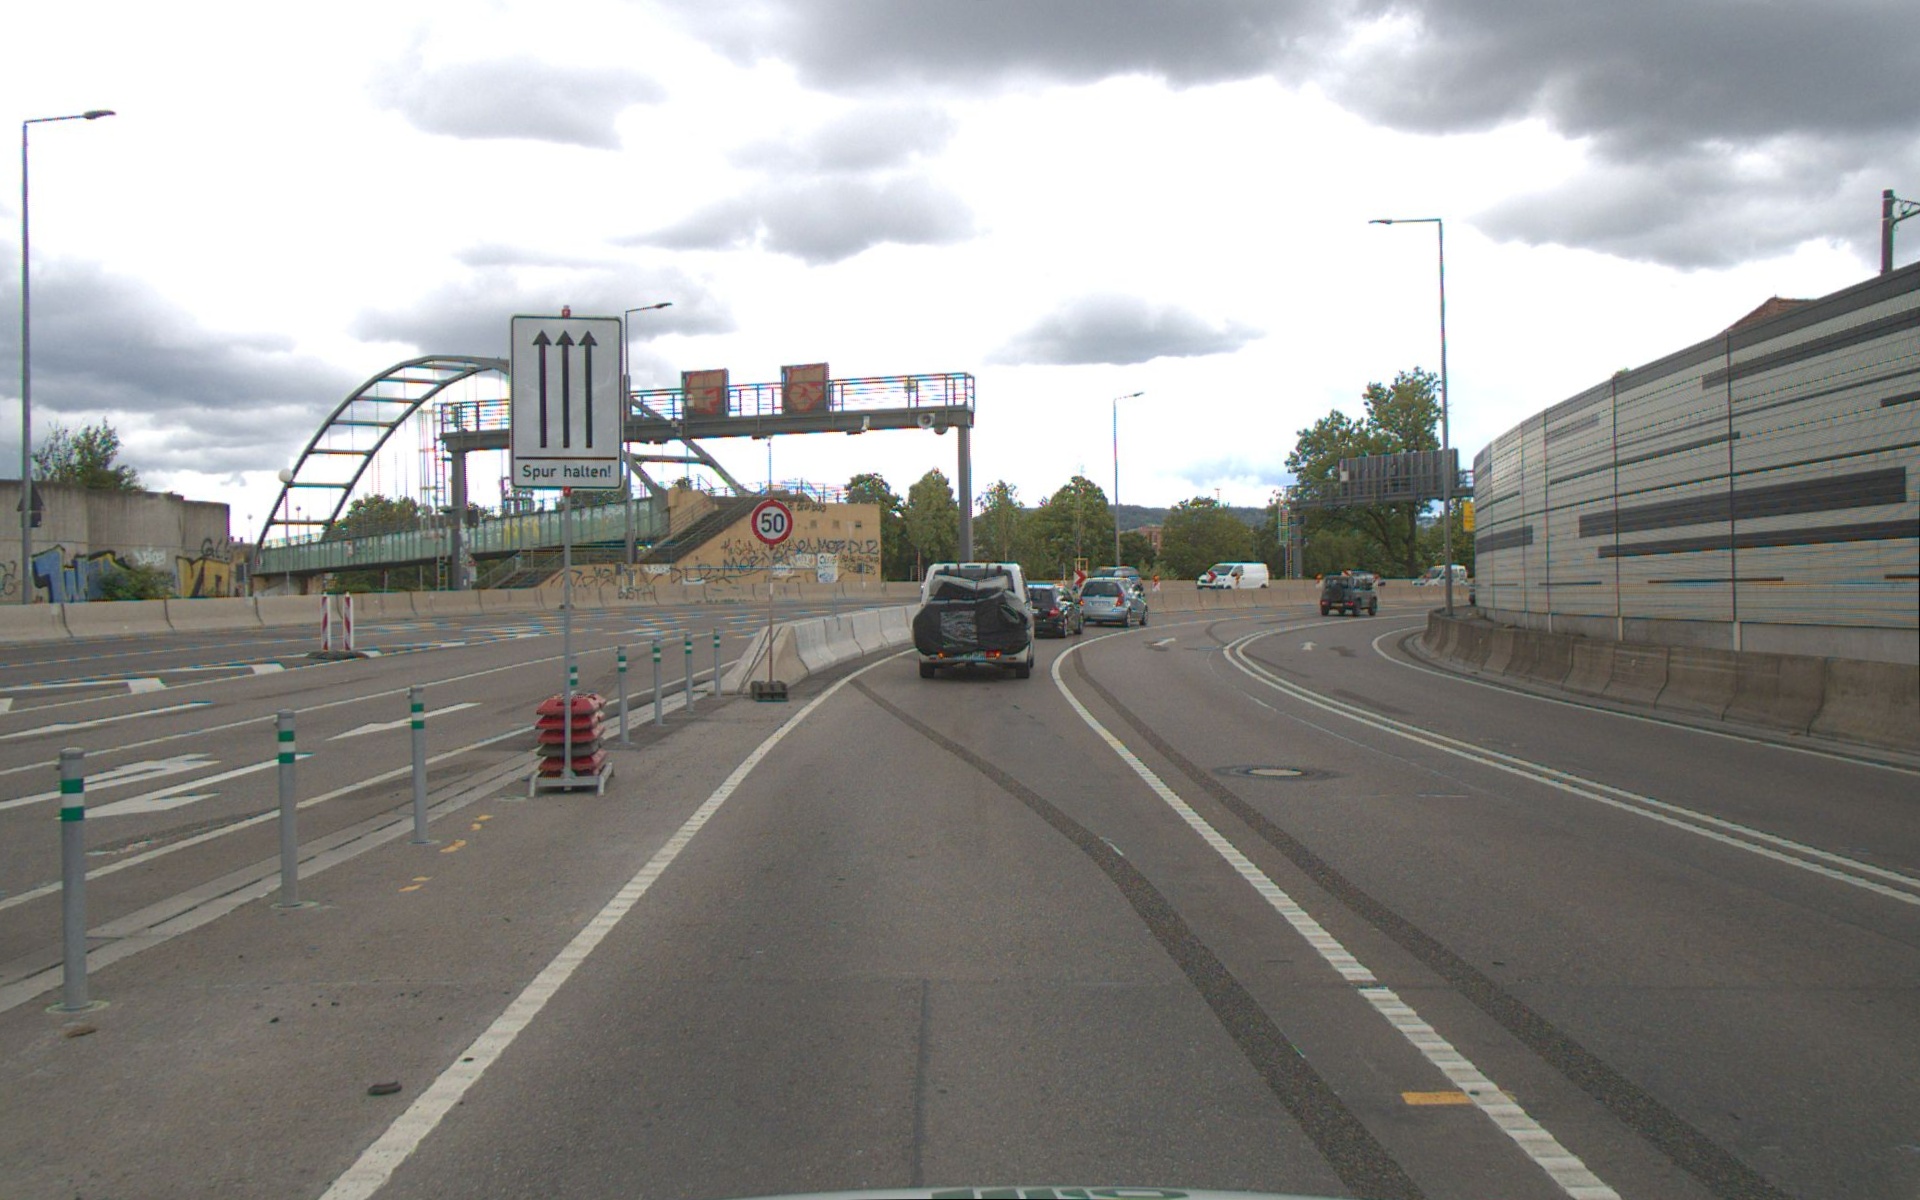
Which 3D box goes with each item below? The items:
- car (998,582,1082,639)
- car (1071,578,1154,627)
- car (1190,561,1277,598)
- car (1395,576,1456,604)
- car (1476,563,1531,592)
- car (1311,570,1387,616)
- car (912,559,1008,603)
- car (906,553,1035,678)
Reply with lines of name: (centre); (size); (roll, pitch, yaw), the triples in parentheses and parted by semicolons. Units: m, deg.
car: (2.255, 0.274, 45.624); (1.776, 1.459, 4.069); (-2, 0, 10)
car: (5.106, 0.059, 54.929); (1.880, 1.514, 4.067); (0, 1, 18)
car: (15.414, -1.153, 92.932); (5.062, 1.986, 2.210); (-1, 1, -43)
car: (29.754, -0.642, 105.653); (1.966, 1.715, 4.230); (1, 1, 44)
car: (28.804, -1.207, 87.532); (1.975, 1.514, 4.057); (0, 1, 30)
car: (16.854, -0.297, 71.499); (1.958, 1.892, 3.988); (0, 0, 33)
car: (0.061, -0.789, 70.006); (1.912, 1.780, 5.269); (-1, 0, 26)
car: (0.229, 0.252, 28.162); (1.952, 1.891, 5.642); (-1, 0, 1)
